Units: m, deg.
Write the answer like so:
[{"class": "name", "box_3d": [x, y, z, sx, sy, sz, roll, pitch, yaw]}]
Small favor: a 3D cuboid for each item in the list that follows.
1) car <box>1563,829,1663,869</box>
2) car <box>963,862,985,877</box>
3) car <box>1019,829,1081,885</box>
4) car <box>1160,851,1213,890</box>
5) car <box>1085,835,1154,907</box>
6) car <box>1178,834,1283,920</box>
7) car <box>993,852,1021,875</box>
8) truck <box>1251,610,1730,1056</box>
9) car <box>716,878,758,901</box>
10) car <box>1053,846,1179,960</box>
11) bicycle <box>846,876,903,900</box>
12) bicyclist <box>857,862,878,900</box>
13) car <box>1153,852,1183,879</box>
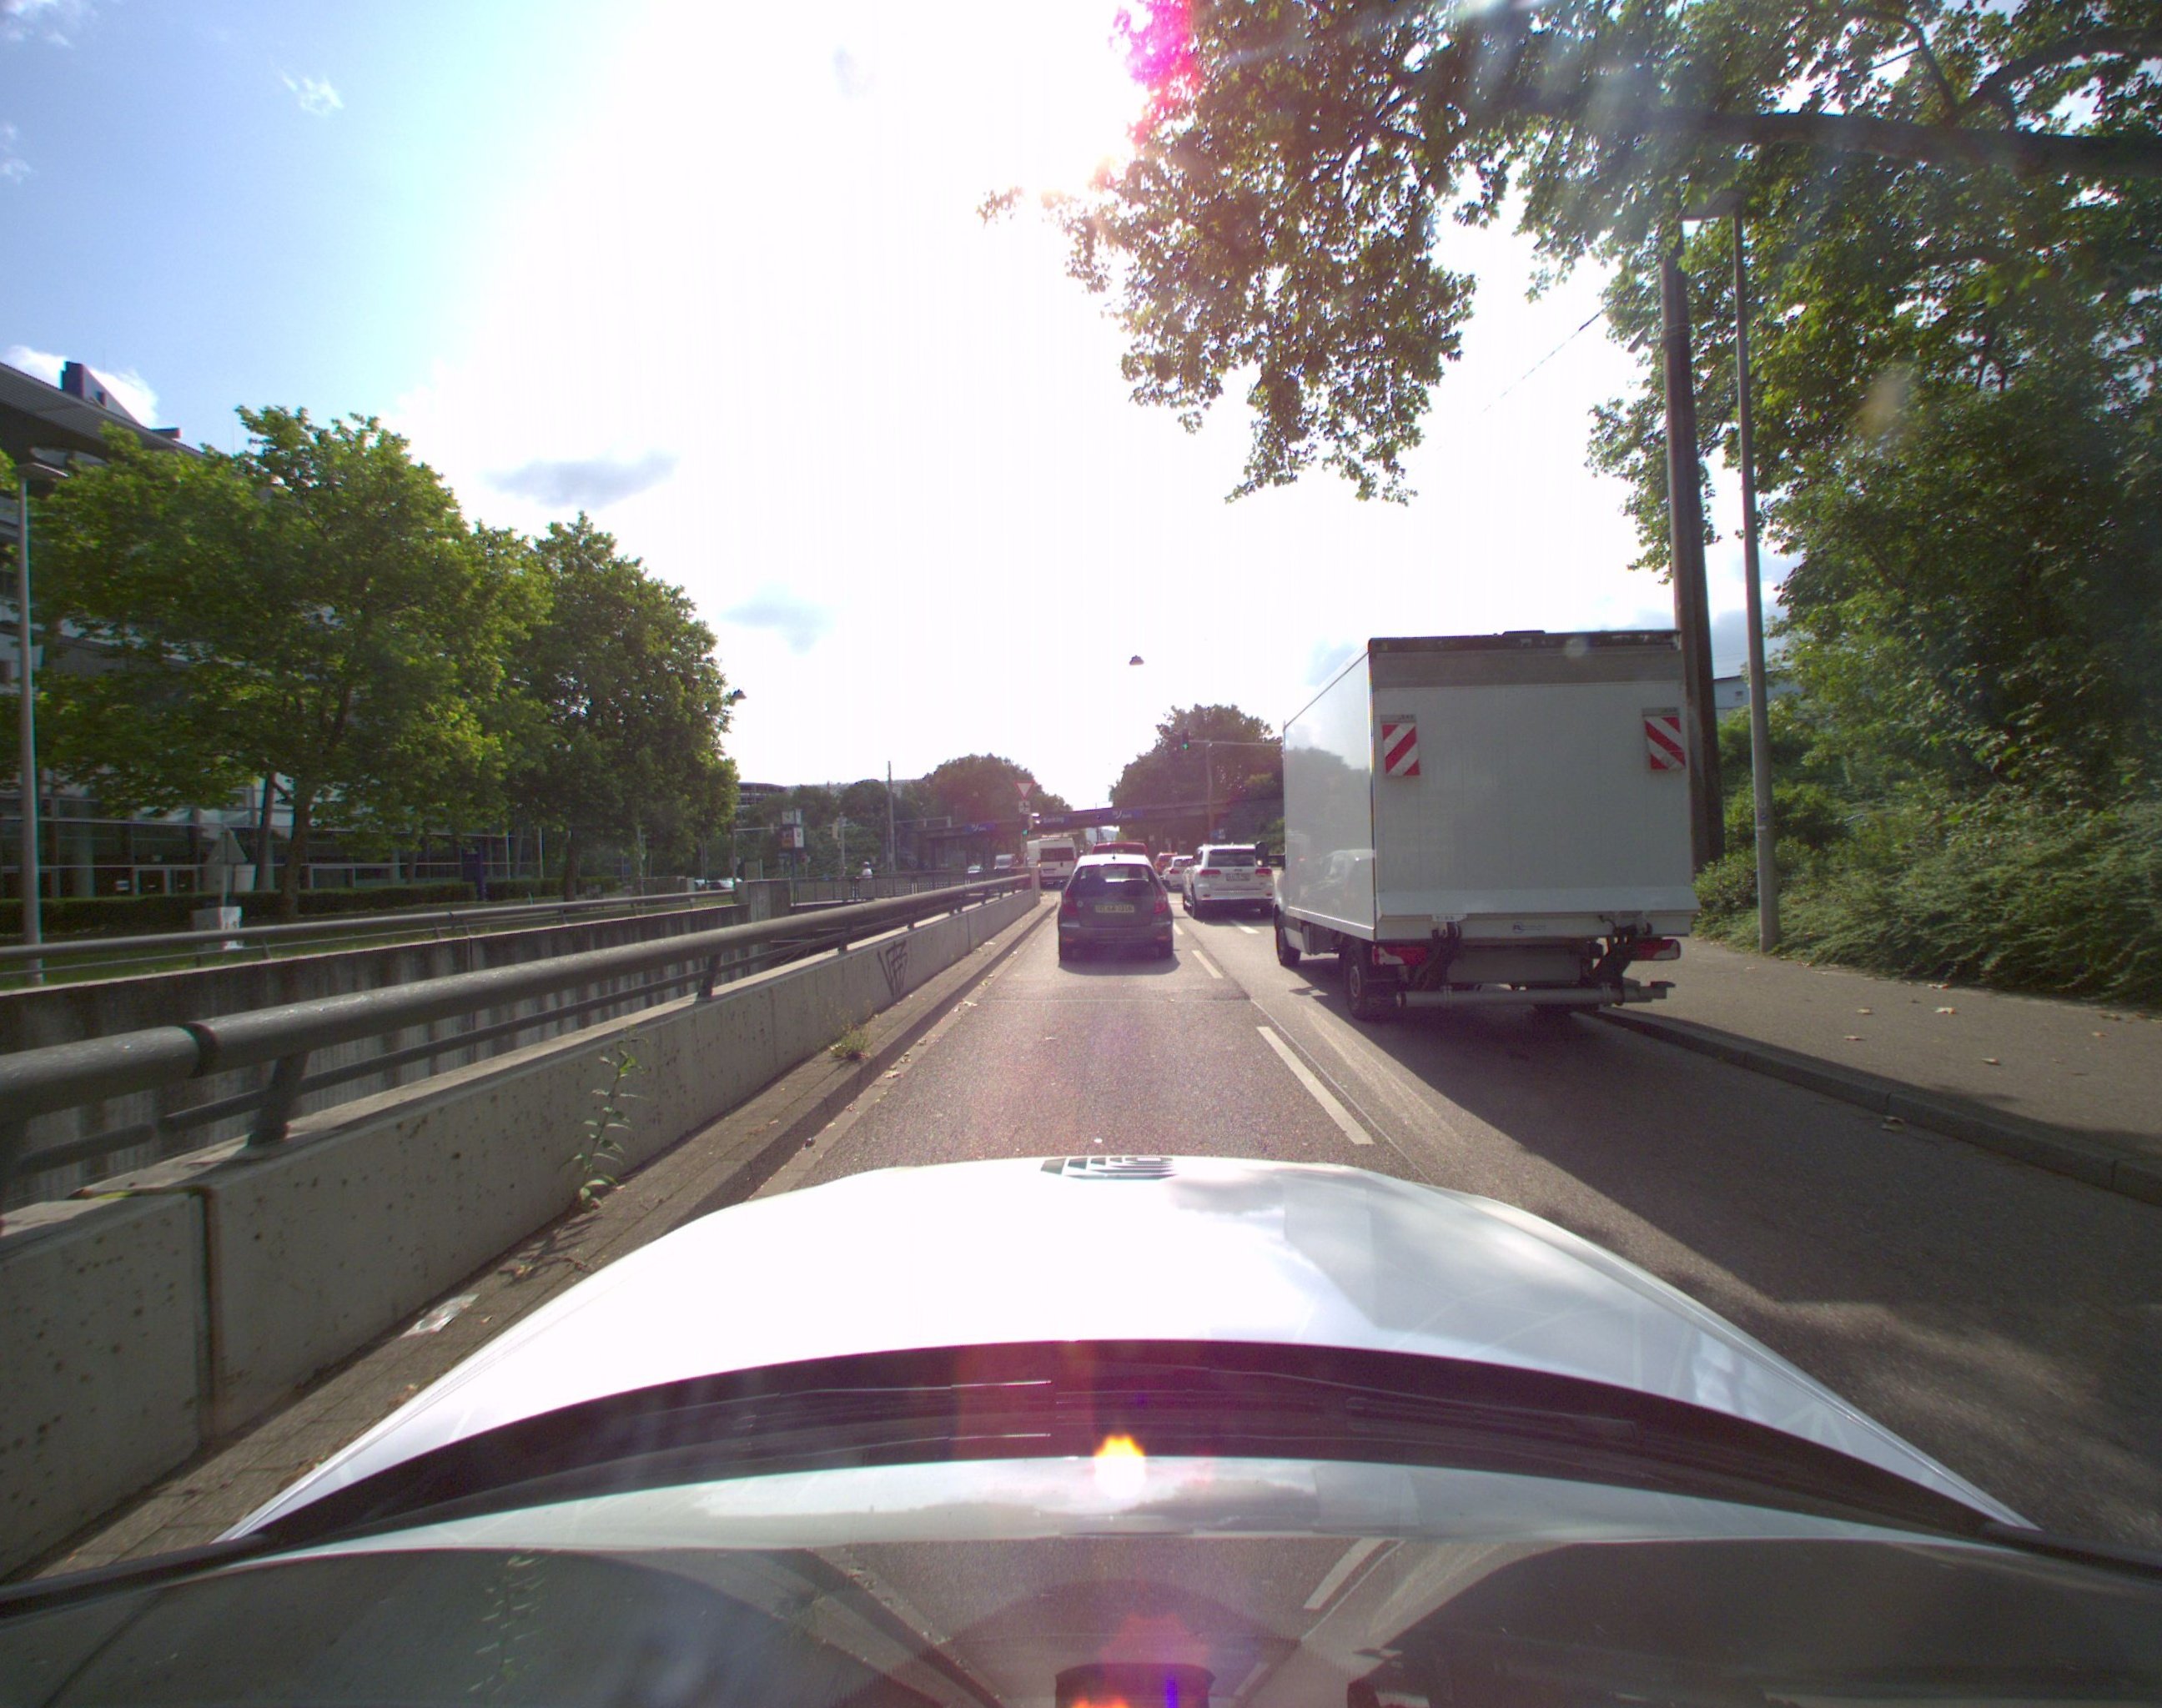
[{"class": "car", "box_3d": [26.332, -0.227, 40.312, 3.972, 1.749, 1.989, -3, -1, 36]}, {"class": "car", "box_3d": [-11.687, 1.688, 89.375, 1.696, 1.476, 4.001, -5, -1, 1]}, {"class": "car", "box_3d": [-1.673, 0.200, 41.887, 2.201, 2.726, 4.906, -1, -1, -15]}, {"class": "car", "box_3d": [4.344, 0.684, 33.934, 1.844, 1.522, 3.619, -1, -1, 2]}, {"class": "car", "box_3d": [1.226, 0.481, 25.788, 1.948, 2.017, 4.679, -1, 0, 2]}, {"class": "car", "box_3d": [3.629, 0.489, 20.589, 1.987, 1.901, 4.512, -1, 0, 2]}, {"class": "car", "box_3d": [-8.281, 1.061, 91.938, 2.248, 2.526, 5.632, -2, -1, 4]}, {"class": "truck", "box_3d": [3.517, -0.110, 8.814, 2.436, 3.121, 6.034, -1, -1, 4]}, {"class": "car", "box_3d": [-33.855, 3.442, 80.102, 3.974, 1.748, 1.989, 7, 2, 36]}, {"class": "car", "box_3d": [0.593, 0.690, 13.634, 1.785, 1.608, 3.801, -1, 0, 2]}, {"class": "bicycle", "box_3d": [-7.803, 1.294, 30.791, 1.962, 0.826, 0.613, -2, -1, 5]}, {"class": "bicyclist", "box_3d": [-8.065, 1.013, 30.823, 0.507, 1.404, 0.627, -3, -1, 6]}, {"class": "car", "box_3d": [5.186, 0.714, 48.881, 1.538, 1.522, 3.619, -1, -1, 2]}]
